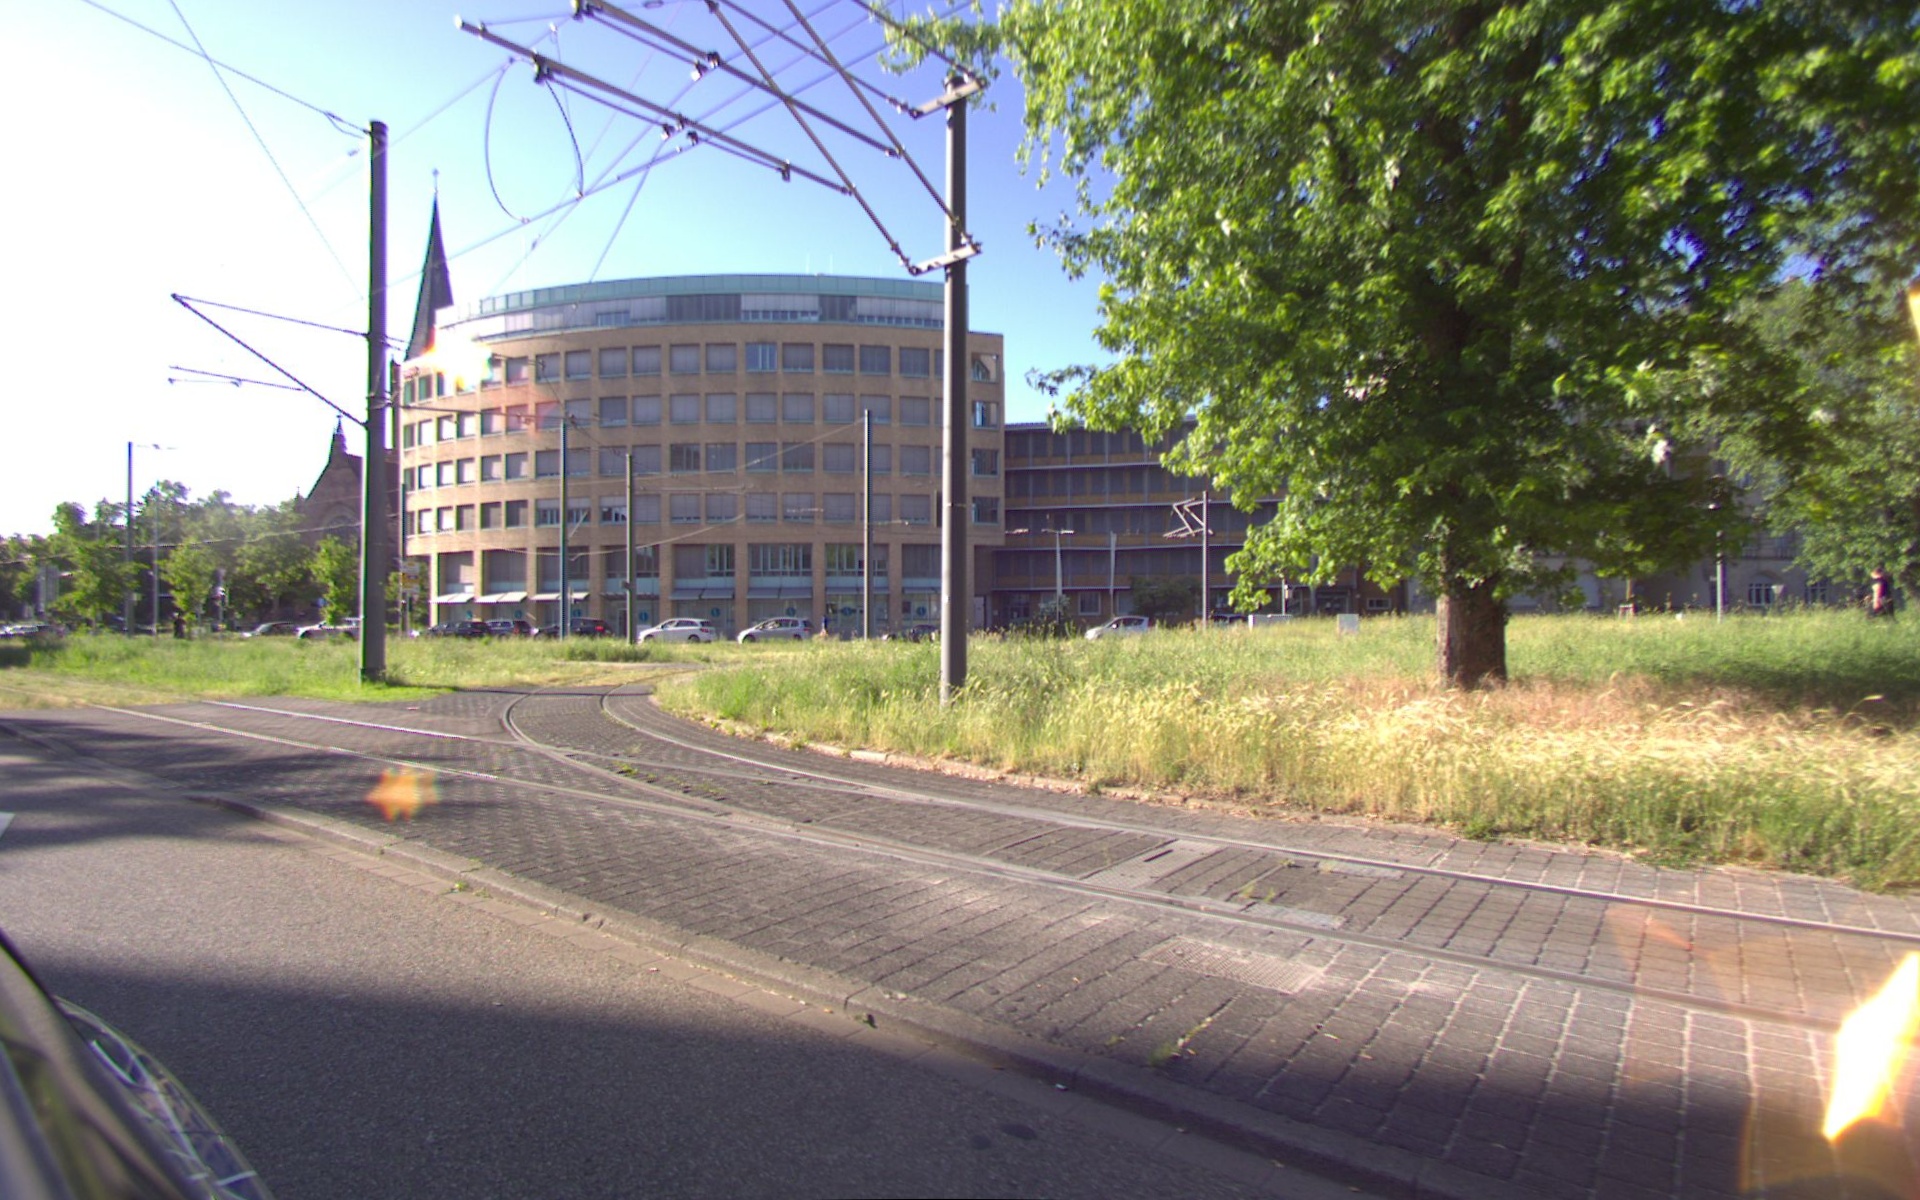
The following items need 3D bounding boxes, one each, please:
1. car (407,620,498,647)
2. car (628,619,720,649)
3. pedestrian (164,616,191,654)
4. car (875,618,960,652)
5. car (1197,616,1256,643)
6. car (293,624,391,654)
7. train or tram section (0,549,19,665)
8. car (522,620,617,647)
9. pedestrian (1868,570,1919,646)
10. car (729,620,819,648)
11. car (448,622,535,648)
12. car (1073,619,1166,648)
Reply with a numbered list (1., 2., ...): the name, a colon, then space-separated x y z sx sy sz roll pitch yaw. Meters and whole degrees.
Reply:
1. car: -29.963 1.970 59.804 4.614 1.528 1.993 0 1 12
2. car: -16.052 1.904 56.898 4.607 1.608 1.993 0 1 12
3. pedestrian: -34.748 1.541 44.945 0.742 1.683 0.728 -1 -1 30
4. car: -2.233 1.856 53.962 4.234 1.524 1.995 2 0 9
5. car: 17.759 1.924 67.635 1.966 1.593 4.012 -1 1 -16
6. car: -37.568 2.382 61.556 5.032 1.747 2.099 -1 -1 12
7. train or tram section: -36.876 0.354 35.134 13.141 3.713 2.926 -1 -1 32
8. car: -22.526 1.932 58.449 4.974 1.458 1.990 0 1 16
9. pedestrian: 20.234 0.166 21.910 0.546 1.628 0.677 -1 0 -15
10. car: -10.166 1.877 55.546 4.459 1.438 1.995 0 1 9
11. car: -31.683 2.339 68.528 5.159 1.680 2.116 0 1 13
12. car: 8.505 1.793 54.271 4.706 1.364 1.998 -1 0 4
